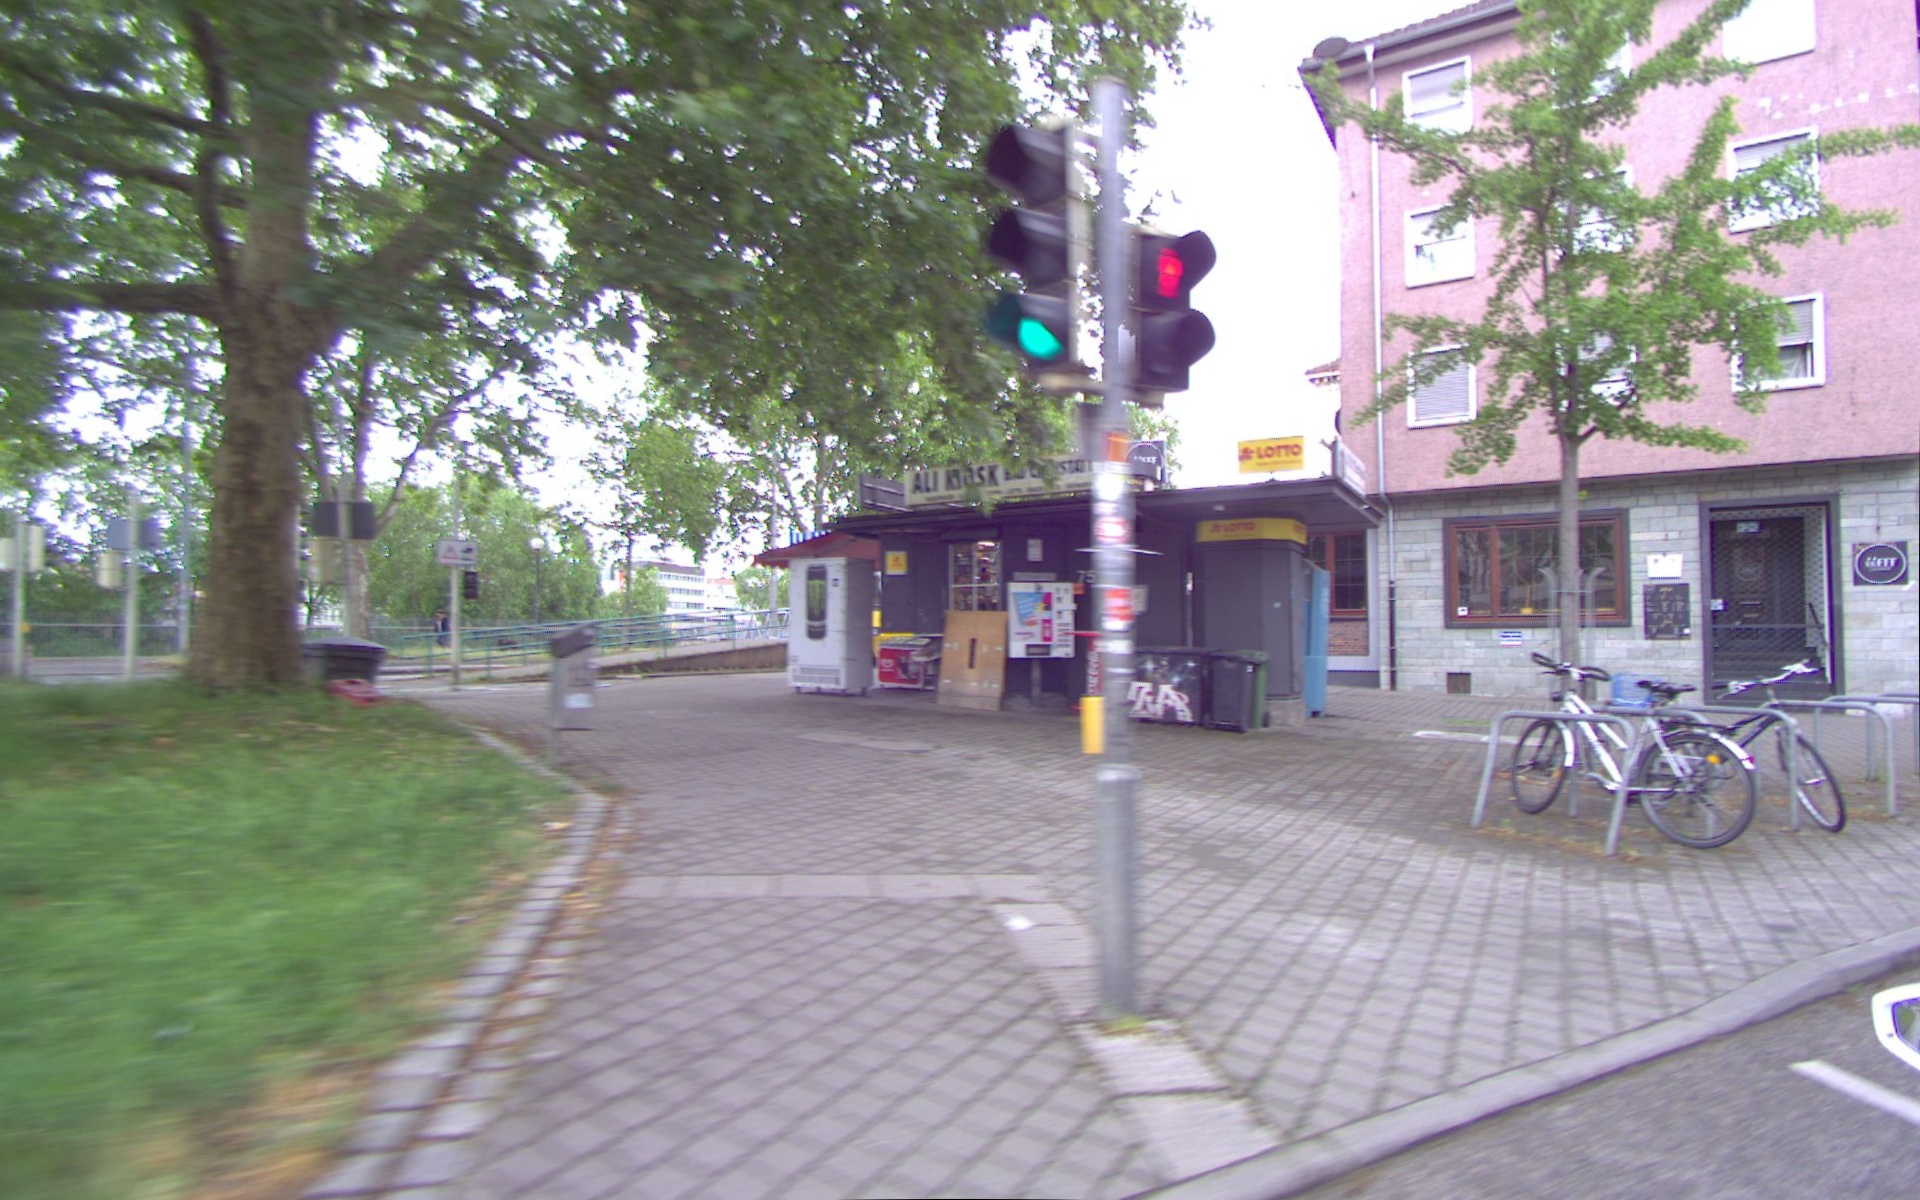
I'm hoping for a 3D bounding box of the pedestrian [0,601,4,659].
[{"bbox_3d":[-24.687,0.838,25.413,0.493,1.644,0.533,3,-1,30],"label":"pedestrian"}]

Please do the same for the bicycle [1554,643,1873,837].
[{"bbox_3d":[5.562,0.956,7.505,0.719,1.192,1.785,2,0,-41],"label":"bicycle"}]

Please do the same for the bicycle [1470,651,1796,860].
[{"bbox_3d":[4.486,0.967,6.883,0.569,1.128,1.867,1,0,-20],"label":"bicycle"}]

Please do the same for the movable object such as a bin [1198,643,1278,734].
[{"bbox_3d":[3.406,1.051,12.255,0.661,0.977,1.077,3,2,29],"label":"movable object such as a bin"}]

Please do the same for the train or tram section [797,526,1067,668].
[{"bbox_3d":[-0.357,0.131,31.869,2.874,3.720,10.983,3,-1,32],"label":"train or tram section"}]

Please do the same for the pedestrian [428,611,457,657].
[{"bbox_3d":[-18.902,1.230,36.699,0.653,1.644,0.535,3,-1,9],"label":"pedestrian"}]

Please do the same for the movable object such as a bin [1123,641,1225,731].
[{"bbox_3d":[2.730,1.058,12.773,0.950,0.977,1.111,3,2,29],"label":"movable object such as a bin"}]
